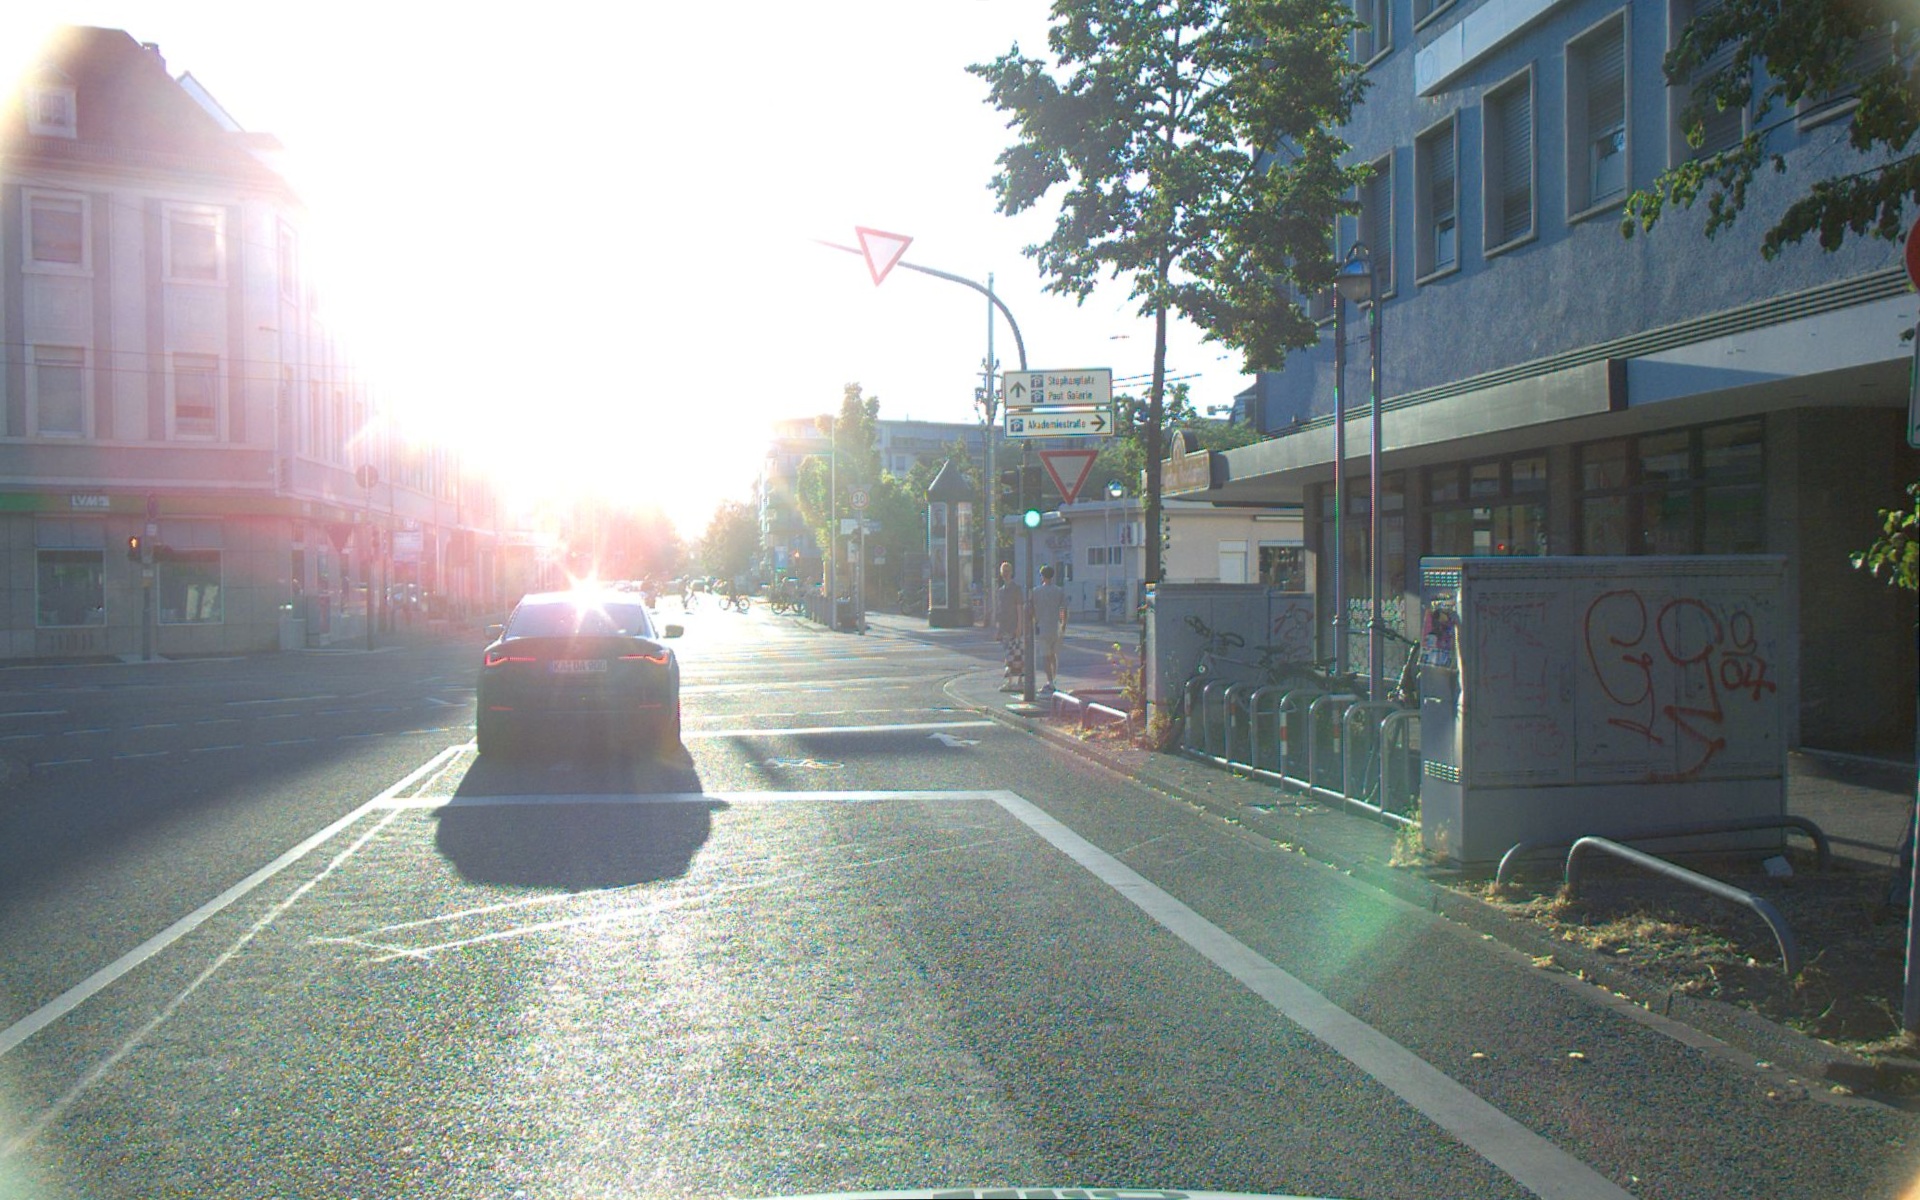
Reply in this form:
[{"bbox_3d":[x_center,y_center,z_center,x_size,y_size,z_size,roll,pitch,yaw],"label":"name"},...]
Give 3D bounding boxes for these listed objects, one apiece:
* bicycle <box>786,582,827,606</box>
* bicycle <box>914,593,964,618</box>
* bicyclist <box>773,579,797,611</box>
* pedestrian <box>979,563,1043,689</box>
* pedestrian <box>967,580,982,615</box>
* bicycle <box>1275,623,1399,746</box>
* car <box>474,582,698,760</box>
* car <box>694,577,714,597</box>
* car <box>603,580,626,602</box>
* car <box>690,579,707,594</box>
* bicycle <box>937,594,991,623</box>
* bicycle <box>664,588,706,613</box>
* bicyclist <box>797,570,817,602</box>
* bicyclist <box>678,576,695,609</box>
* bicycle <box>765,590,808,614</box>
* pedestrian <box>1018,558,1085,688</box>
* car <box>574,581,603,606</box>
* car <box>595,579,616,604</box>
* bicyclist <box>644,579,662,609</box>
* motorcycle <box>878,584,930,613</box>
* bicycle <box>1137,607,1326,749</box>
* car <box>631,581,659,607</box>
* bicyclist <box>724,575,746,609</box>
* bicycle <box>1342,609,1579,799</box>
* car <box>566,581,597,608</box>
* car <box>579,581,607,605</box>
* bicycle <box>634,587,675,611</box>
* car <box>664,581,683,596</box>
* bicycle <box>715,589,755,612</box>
[{"bbox_3d":[-8.026,-0.308,86.438,2.073,1.225,0.500,1,-1,2],"label":"bicycle"},{"bbox_3d":[-0.862,0.215,67.407,2.035,0.999,0.560,-1,0,-1],"label":"bicycle"},{"bbox_3d":[-8.936,-0.243,84.589,1.106,1.629,0.702,1,-1,2],"label":"bicyclist"},{"bbox_3d":[0.743,0.372,24.268,0.581,1.804,0.739,-1,0,-40],"label":"pedestrian"},{"bbox_3d":[0.713,-0.104,81.143,0.667,1.686,0.695,1,-1,-1],"label":"pedestrian"},{"bbox_3d":[3.520,0.766,15.559,0.396,1.028,1.664,-2,1,-14],"label":"bicycle"},{"bbox_3d":[-3.710,0.619,16.455,1.858,1.506,4.527,1,0,-13],"label":"car"},{"bbox_3d":[-27.016,-1.412,174.863,1.956,2.049,3.994,-1,1,-7],"label":"car"},{"bbox_3d":[-24.474,-0.628,117.232,1.456,1.586,3.251,0,0,-10],"label":"car"},{"bbox_3d":[-34.464,-1.799,217.935,1.956,1.847,3.994,1,0,-7],"label":"car"},{"bbox_3d":[0.144,0.303,61.769,1.979,1.062,0.560,-1,0,-1],"label":"bicycle"},{"bbox_3d":[-13.902,0.005,83.680,2.078,1.225,0.499,1,-1,-9],"label":"bicycle"},{"bbox_3d":[-8.006,-0.743,86.451,0.939,1.629,0.646,1,-1,3],"label":"bicyclist"},{"bbox_3d":[-13.831,-0.374,83.699,0.834,1.687,0.675,1,-1,-8],"label":"bicyclist"},{"bbox_3d":[-8.864,0.107,84.572,2.073,1.225,0.500,1,-1,2],"label":"bicycle"},{"bbox_3d":[1.301,0.316,23.459,0.630,1.804,0.742,-1,1,-30],"label":"pedestrian"},{"bbox_3d":[-22.409,-0.387,99.899,1.517,1.495,3.344,0,0,-10],"label":"car"},{"bbox_3d":[-23.887,-0.570,111.474,1.283,1.610,2.882,0,0,-10],"label":"car"},{"bbox_3d":[-16.071,-0.307,86.650,0.882,1.507,0.733,1,-1,-8],"label":"bicyclist"},{"bbox_3d":[-2.379,-0.072,70.445,2.190,1.222,0.720,-1,1,-4],"label":"motorcycle"},{"bbox_3d":[2.441,0.681,14.857,1.629,1.215,0.475,0,1,-15],"label":"bicycle"},{"bbox_3d":[-18.530,-0.342,97.338,1.517,1.493,3.344,0,0,-10],"label":"car"},{"bbox_3d":[-12.076,-0.442,88.861,1.108,1.822,0.763,1,-1,-8],"label":"bicyclist"},{"bbox_3d":[3.455,0.687,11.397,1.633,1.215,0.491,-1,1,-22],"label":"bicycle"},{"bbox_3d":[-22.030,-0.344,96.276,1.517,1.509,3.344,-1,1,-10],"label":"car"},{"bbox_3d":[-23.253,-0.427,104.796,1.517,1.494,3.344,0,0,-10],"label":"car"},{"bbox_3d":[-15.994,-0.034,86.648,2.078,1.225,0.499,1,-1,-9],"label":"bicycle"},{"bbox_3d":[-34.209,-1.424,197.552,1.956,1.713,3.994,-1,1,-7],"label":"car"},{"bbox_3d":[-12.091,0.016,88.855,2.078,1.225,0.499,1,-1,-9],"label":"bicycle"}]
